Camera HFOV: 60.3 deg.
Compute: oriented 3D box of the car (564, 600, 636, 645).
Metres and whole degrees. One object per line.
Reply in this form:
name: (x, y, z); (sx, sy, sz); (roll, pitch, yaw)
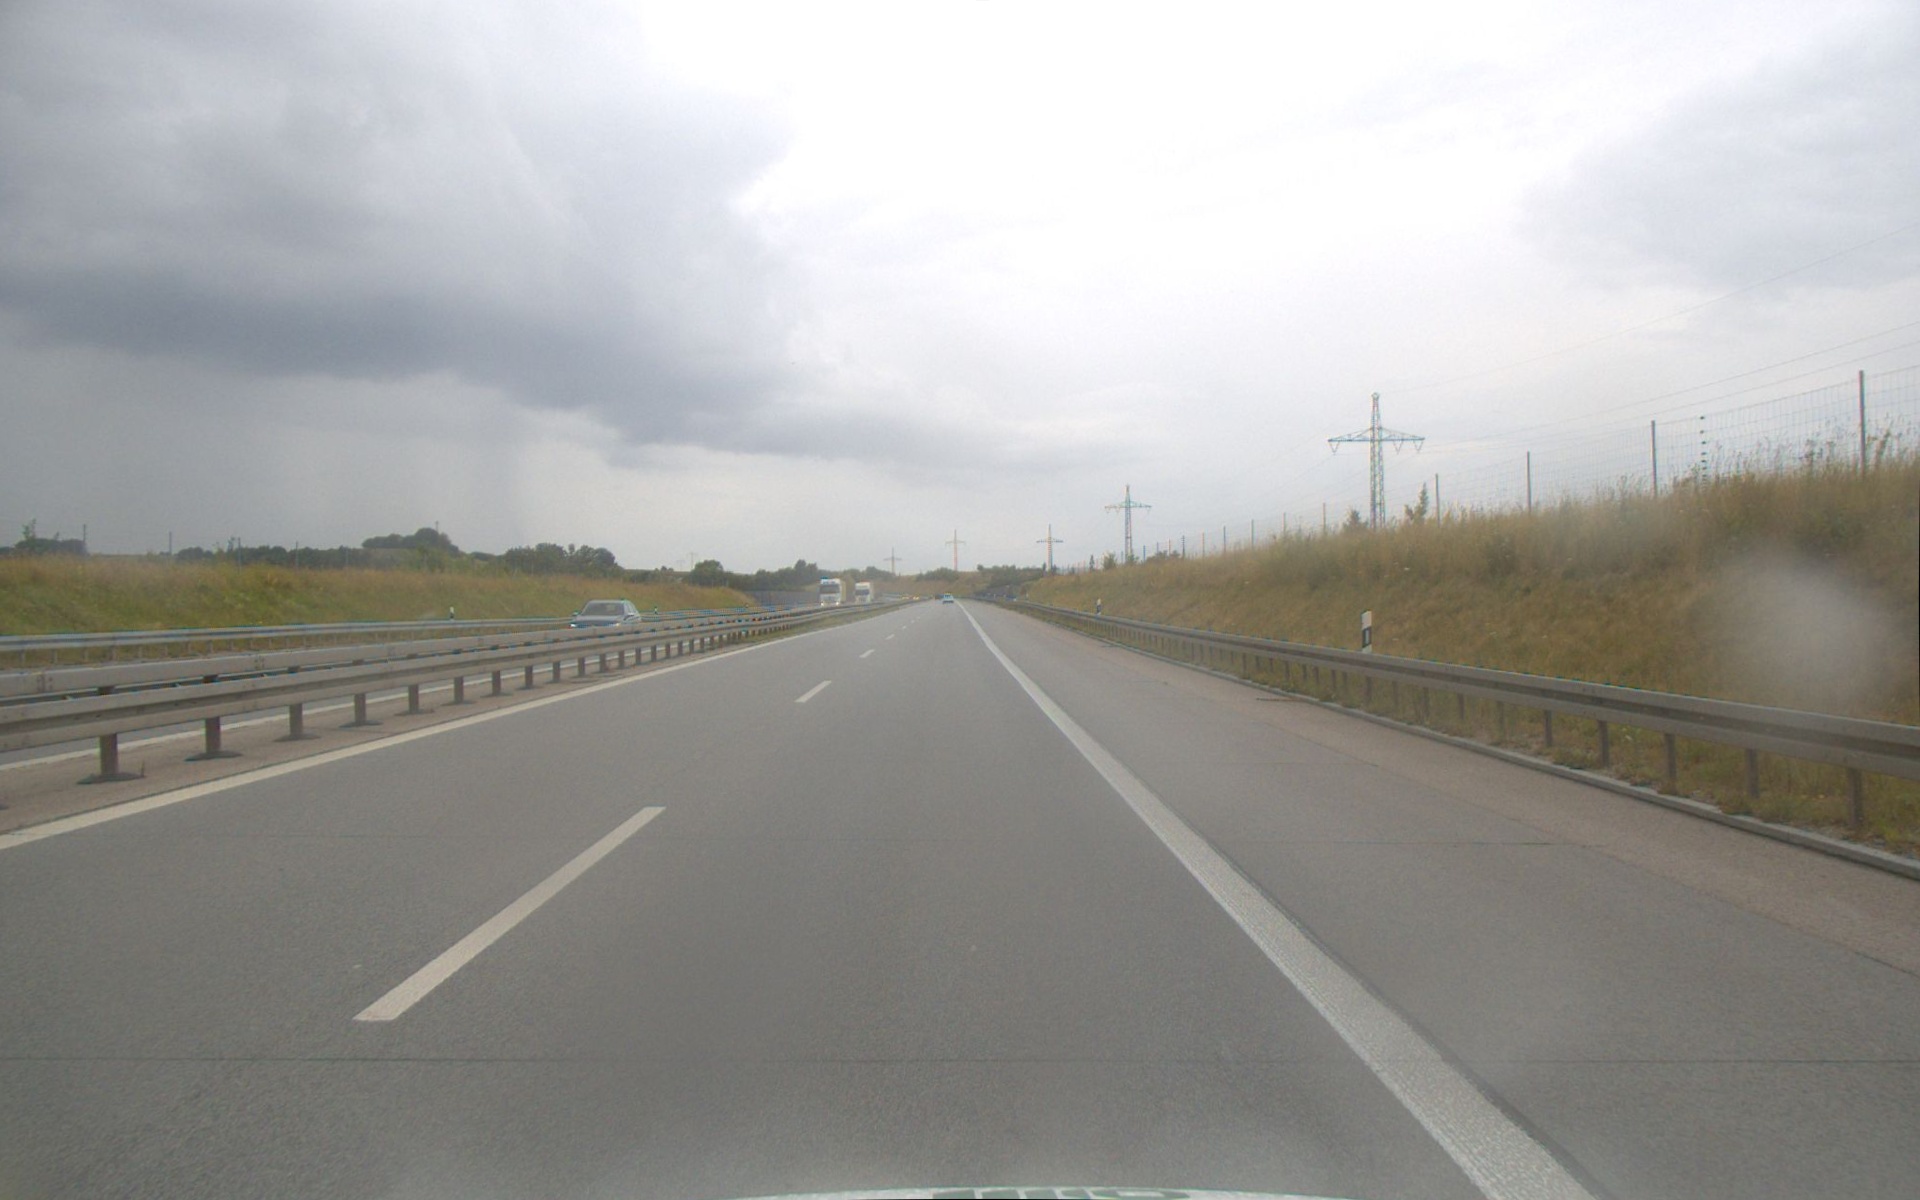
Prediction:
car: (-11.946, 0.721, 55.080); (1.728, 1.449, 3.998); (0, 0, -3)
